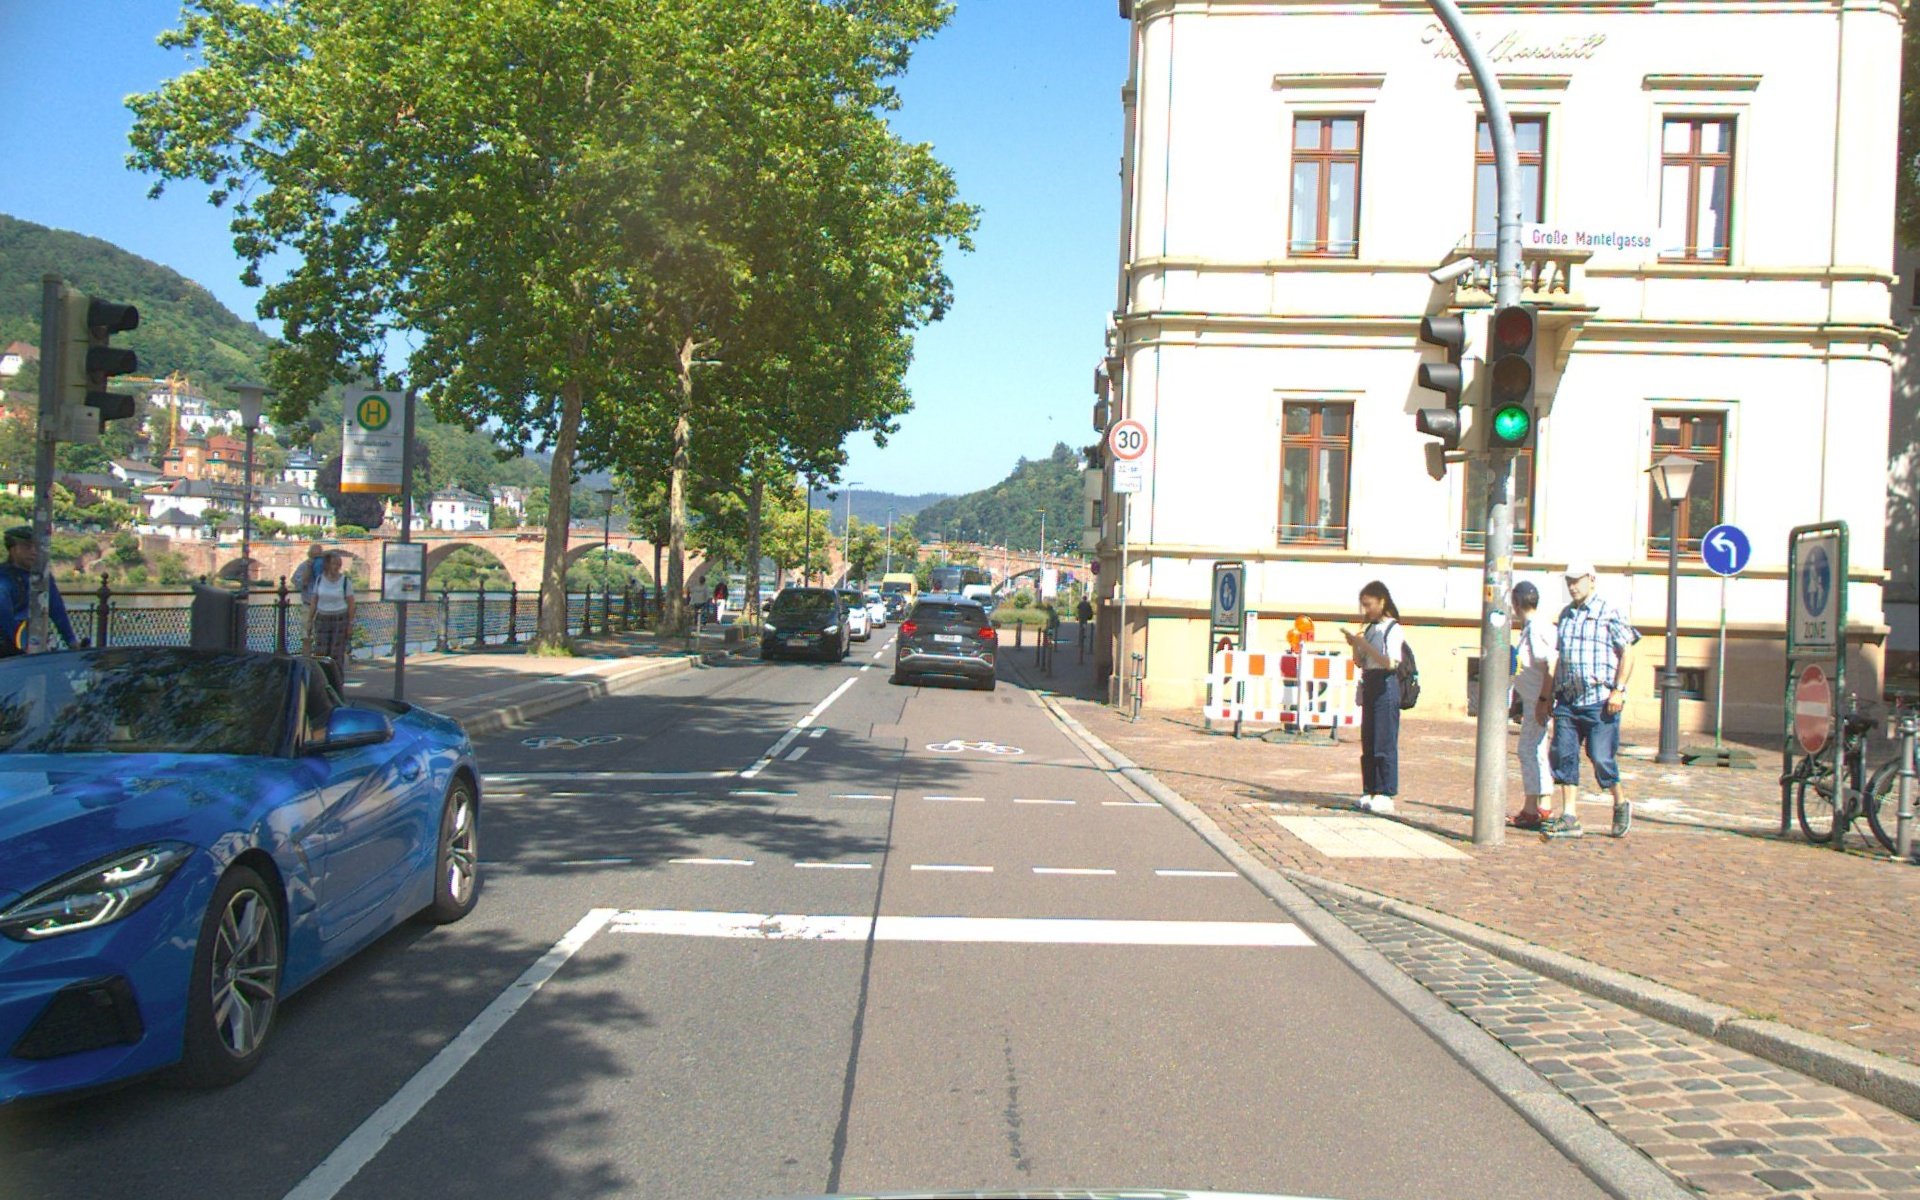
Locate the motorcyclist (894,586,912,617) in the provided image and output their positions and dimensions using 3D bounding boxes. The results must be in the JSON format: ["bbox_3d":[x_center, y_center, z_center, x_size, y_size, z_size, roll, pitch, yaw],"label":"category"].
[{"bbox_3d":[-3.040,0.073,88.222,0.861,1.611,1.024,2,0,-6],"label":"motorcyclist"}]

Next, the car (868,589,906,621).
[{"bbox_3d":[-3.606,0.236,82.244,1.666,1.483,4.001,2,0,-1],"label":"car"}]

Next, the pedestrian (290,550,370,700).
[{"bbox_3d":[-7.183,0.277,18.897,0.483,1.645,0.991,2,0,-1],"label":"pedestrian"}]

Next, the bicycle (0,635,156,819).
[{"bbox_3d":[-6.251,0.817,11.189,1.798,0.941,0.739,8,3,40],"label":"bicycle"}]

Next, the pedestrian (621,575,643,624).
[{"bbox_3d":[-13.711,-0.019,69.186,0.679,1.979,0.886,2,0,-2],"label":"pedestrian"}]

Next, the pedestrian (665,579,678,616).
[{"bbox_3d":[-12.860,-0.126,73.761,0.406,1.625,0.451,2,0,7],"label":"pedestrian"}]

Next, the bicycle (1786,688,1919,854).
[{"bbox_3d":[6.162,1.115,11.050,0.497,1.021,1.580,3,-3,1],"label":"bicycle"}]

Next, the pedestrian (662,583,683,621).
[{"bbox_3d":[-12.879,0.087,74.116,0.679,1.644,0.664,2,0,7],"label":"pedestrian"}]

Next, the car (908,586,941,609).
[{"bbox_3d":[-2.328,-0.194,110.034,1.775,1.453,4.313,1,1,4],"label":"car"}]

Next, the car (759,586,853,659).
[{"bbox_3d":[-3.411,0.485,37.342,1.666,1.544,4.405,0,0,0],"label":"car"}]

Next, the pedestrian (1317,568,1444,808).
[{"bbox_3d":[3.107,0.636,12.262,0.701,1.705,0.682,2,0,-2],"label":"pedestrian"}]

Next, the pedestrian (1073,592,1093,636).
[{"bbox_3d":[4.978,0.574,66.944,0.746,1.743,0.696,-1,0,2],"label":"pedestrian"}]

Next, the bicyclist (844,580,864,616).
[{"bbox_3d":[-4.781,-0.110,74.765,0.751,1.558,1.025,4,2,1],"label":"bicyclist"}]

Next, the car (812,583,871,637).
[{"bbox_3d":[-3.643,0.279,51.117,1.701,1.544,4.402,1,1,-4],"label":"car"}]

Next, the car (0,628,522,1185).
[{"bbox_3d":[-3.050,0.802,6.159,1.803,1.291,4.260,-1,0,-2],"label":"car"}]

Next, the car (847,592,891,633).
[{"bbox_3d":[-3.751,0.507,68.723,1.667,1.470,4.090,3,1,-2],"label":"car"}]

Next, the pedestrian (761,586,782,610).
[{"bbox_3d":[-10.387,-0.101,91.127,0.916,1.303,0.850,2,0,8],"label":"pedestrian"}]

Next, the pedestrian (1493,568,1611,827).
[{"bbox_3d":[4.136,0.664,11.588,0.516,1.742,0.665,2,0,-2],"label":"pedestrian"}]

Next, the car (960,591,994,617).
[{"bbox_3d":[1.124,0.223,105.366,1.886,1.580,4.834,1,0,4],"label":"car"}]

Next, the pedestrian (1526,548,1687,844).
[{"bbox_3d":[4.290,0.613,10.995,0.610,1.884,0.723,2,0,-31],"label":"pedestrian"}]

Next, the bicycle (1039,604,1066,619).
[{"bbox_3d":[6.234,0.784,111.515,1.772,0.893,0.502,4,1,3],"label":"bicycle"}]

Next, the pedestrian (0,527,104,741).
[{"bbox_3d":[-7.898,0.272,14.022,0.818,1.743,0.782,2,0,-2],"label":"pedestrian"}]

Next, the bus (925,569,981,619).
[{"bbox_3d":[-0.458,-0.394,131.725,2.575,3.626,12.992,2,-1,7],"label":"bus"}]

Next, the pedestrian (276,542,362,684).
[{"bbox_3d":[-8.398,0.164,21.694,0.697,1.795,0.972,2,0,-2],"label":"pedestrian"}]

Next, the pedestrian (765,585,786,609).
[{"bbox_3d":[-10.264,-0.184,92.033,0.916,1.303,0.850,2,0,8],"label":"pedestrian"}]

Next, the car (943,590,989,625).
[{"bbox_3d":[0.334,0.352,79.292,1.886,1.580,4.834,1,0,4],"label":"car"}]

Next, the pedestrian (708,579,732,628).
[{"bbox_3d":[-8.689,0.141,59.864,0.643,1.711,0.758,5,0,-2],"label":"pedestrian"}]

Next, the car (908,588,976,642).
[{"bbox_3d":[-0.506,0.424,50.031,1.887,1.486,4.832,2,0,1],"label":"car"}]

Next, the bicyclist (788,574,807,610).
[{"bbox_3d":[-7.564,-0.375,77.233,0.704,1.611,1.089,2,0,1],"label":"bicyclist"}]

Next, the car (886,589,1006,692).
[{"bbox_3d":[-0.276,0.657,29.727,1.888,1.580,4.831,4,0,-1],"label":"car"}]

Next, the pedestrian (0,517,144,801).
[{"bbox_3d":[-6.138,0.366,11.132,1.006,1.804,0.765,2,0,39],"label":"pedestrian"}]

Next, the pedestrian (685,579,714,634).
[{"bbox_3d":[-7.919,0.197,50.303,0.746,1.614,0.695,2,0,-2],"label":"pedestrian"}]

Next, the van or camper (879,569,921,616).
[{"bbox_3d":[-3.497,-0.429,97.610,2.045,2.601,7.092,3,0,0],"label":"van or camper"}]

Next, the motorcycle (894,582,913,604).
[{"bbox_3d":[-3.019,-0.385,88.516,0.866,1.096,2.326,2,2,-5],"label":"motorcycle"}]
